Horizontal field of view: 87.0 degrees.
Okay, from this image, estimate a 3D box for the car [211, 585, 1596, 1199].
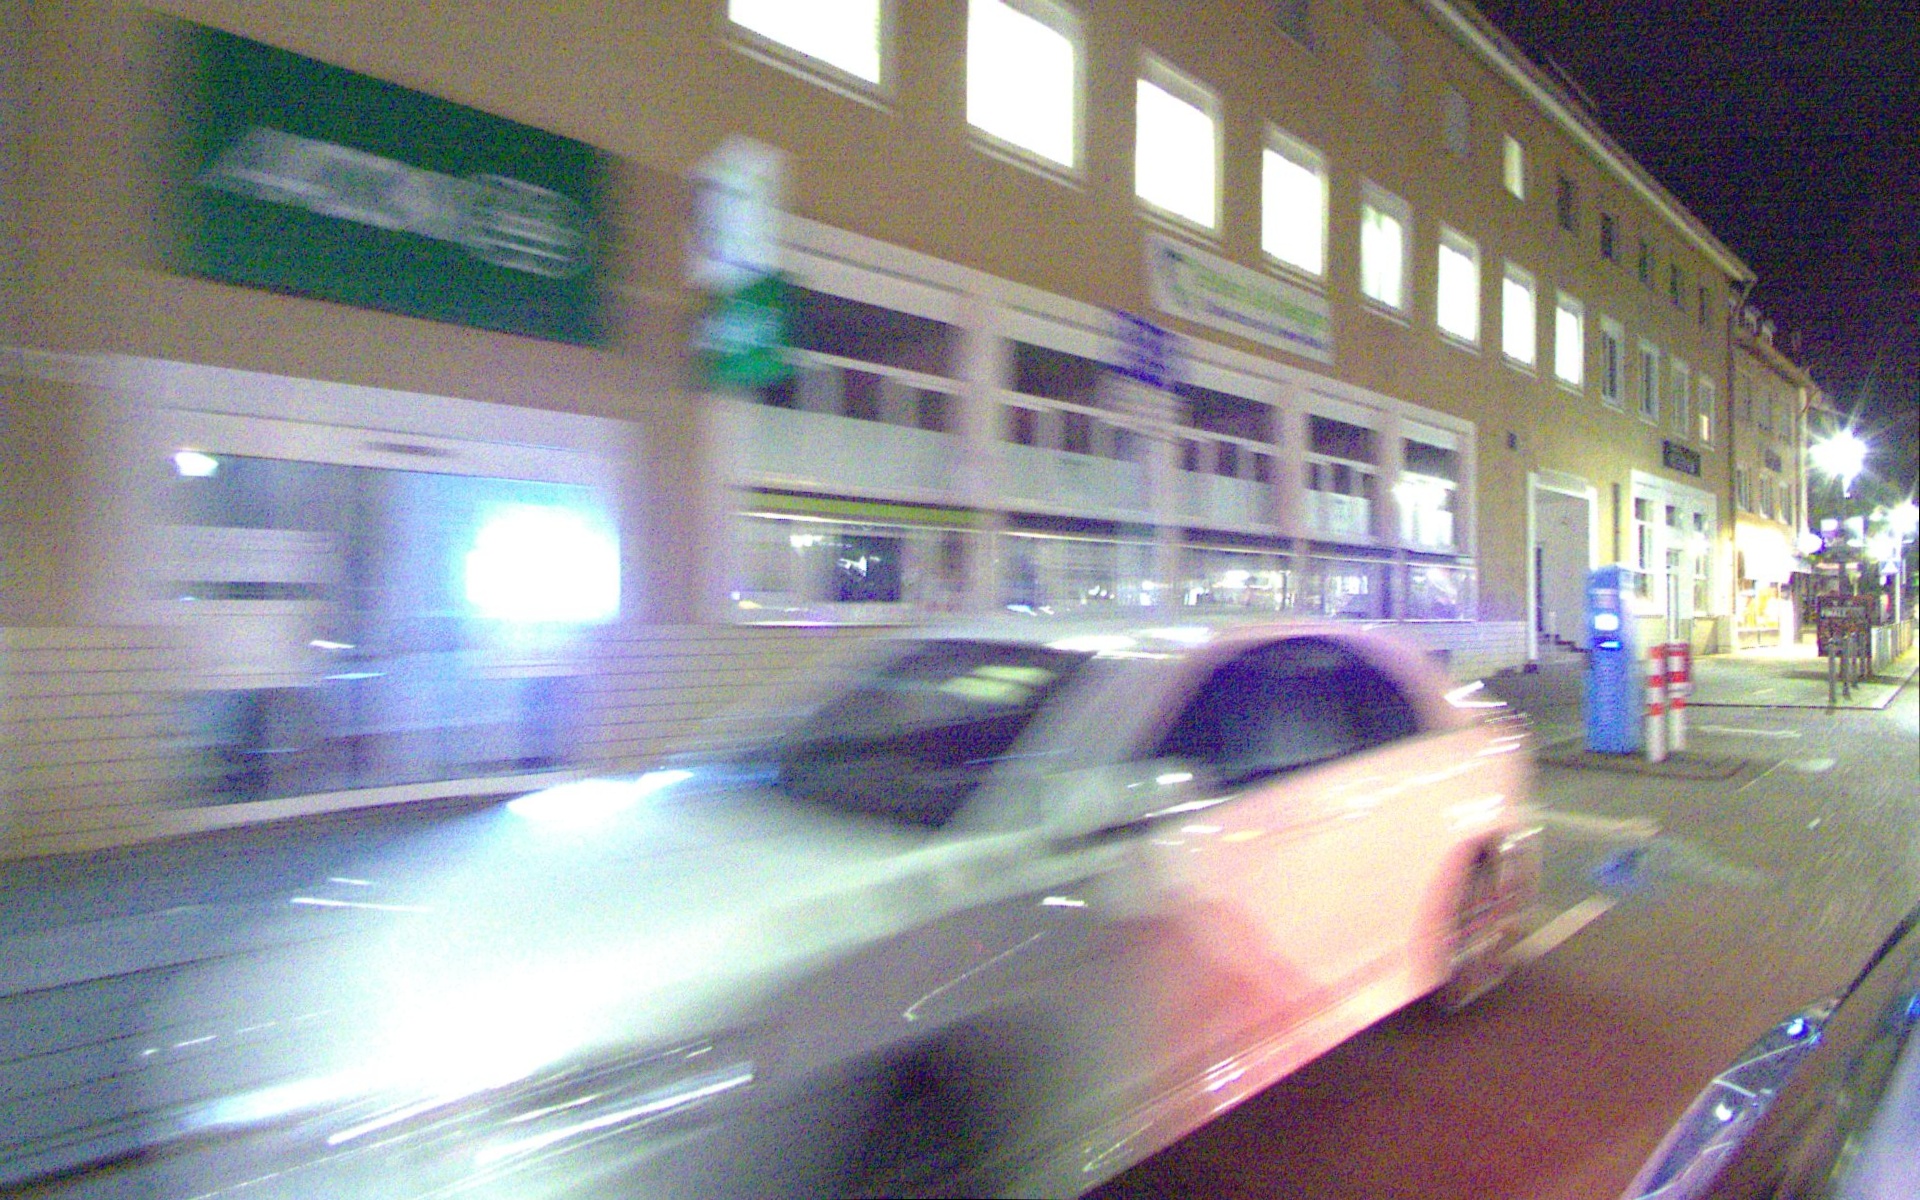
[{"bbox_3d":[0.386,0.726,3.404,4.556,1.506,1.745,-1,1,-41],"label":"car"}]
